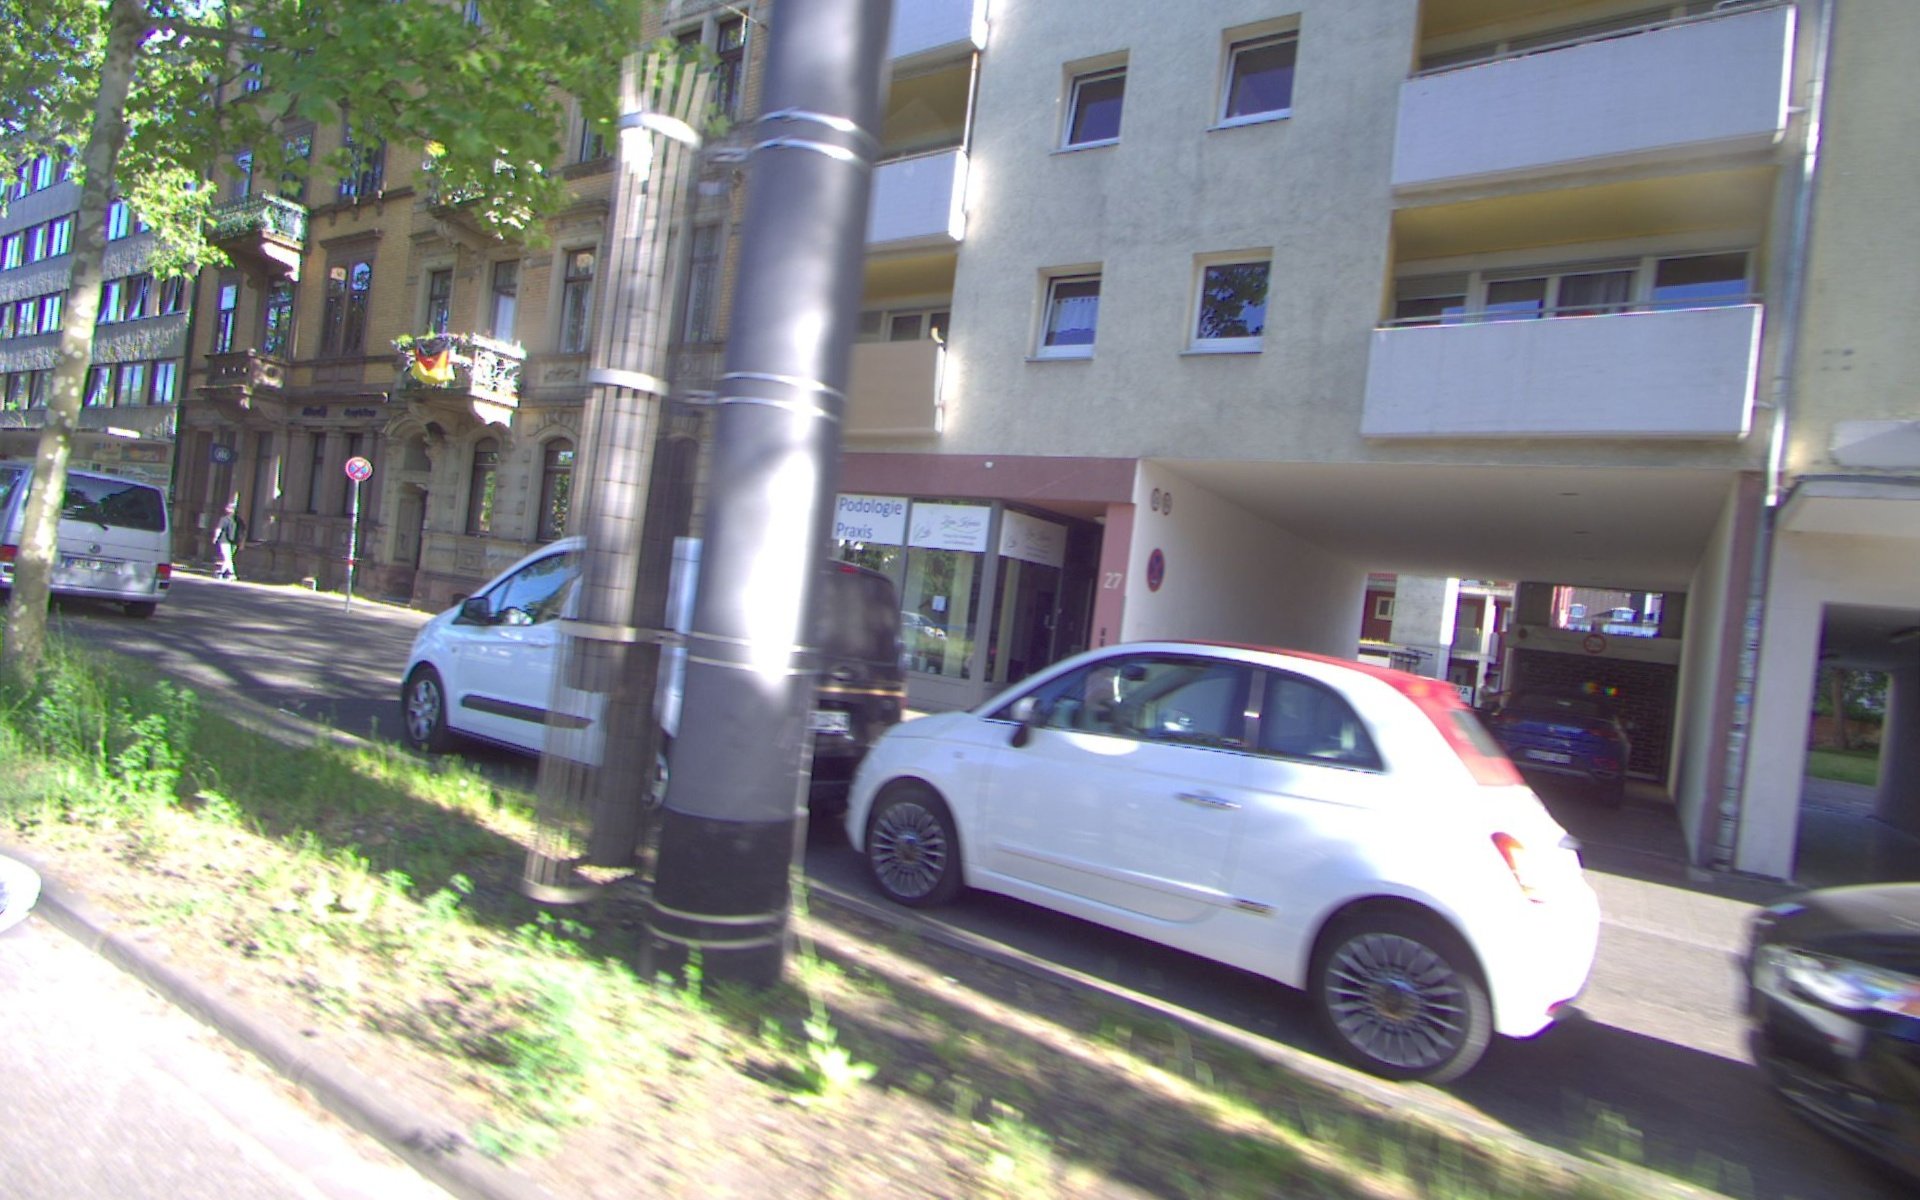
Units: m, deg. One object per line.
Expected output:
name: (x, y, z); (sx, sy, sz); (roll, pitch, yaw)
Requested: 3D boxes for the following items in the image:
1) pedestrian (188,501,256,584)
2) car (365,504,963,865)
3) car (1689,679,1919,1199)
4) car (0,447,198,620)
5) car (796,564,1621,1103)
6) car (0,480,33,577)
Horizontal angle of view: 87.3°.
pedestrian: (-18.018, -1.386, 24.572); (0.704, 1.862, 1.000); (7, 0, 35)
car: (-2.200, 0.416, 6.977); (4.076, 1.686, 1.628); (7, -3, 35)
car: (4.328, 1.267, 2.632); (3.727, 1.502, 1.564); (7, -3, 35)
car: (-12.636, -0.995, 13.827); (4.723, 1.836, 1.868); (7, -3, 34)
car: (1.047, 0.811, 4.891); (3.438, 1.497, 1.514); (7, -3, 36)
car: (-17.514, -1.436, 16.920); (4.287, 1.519, 1.708); (7, -3, 33)
